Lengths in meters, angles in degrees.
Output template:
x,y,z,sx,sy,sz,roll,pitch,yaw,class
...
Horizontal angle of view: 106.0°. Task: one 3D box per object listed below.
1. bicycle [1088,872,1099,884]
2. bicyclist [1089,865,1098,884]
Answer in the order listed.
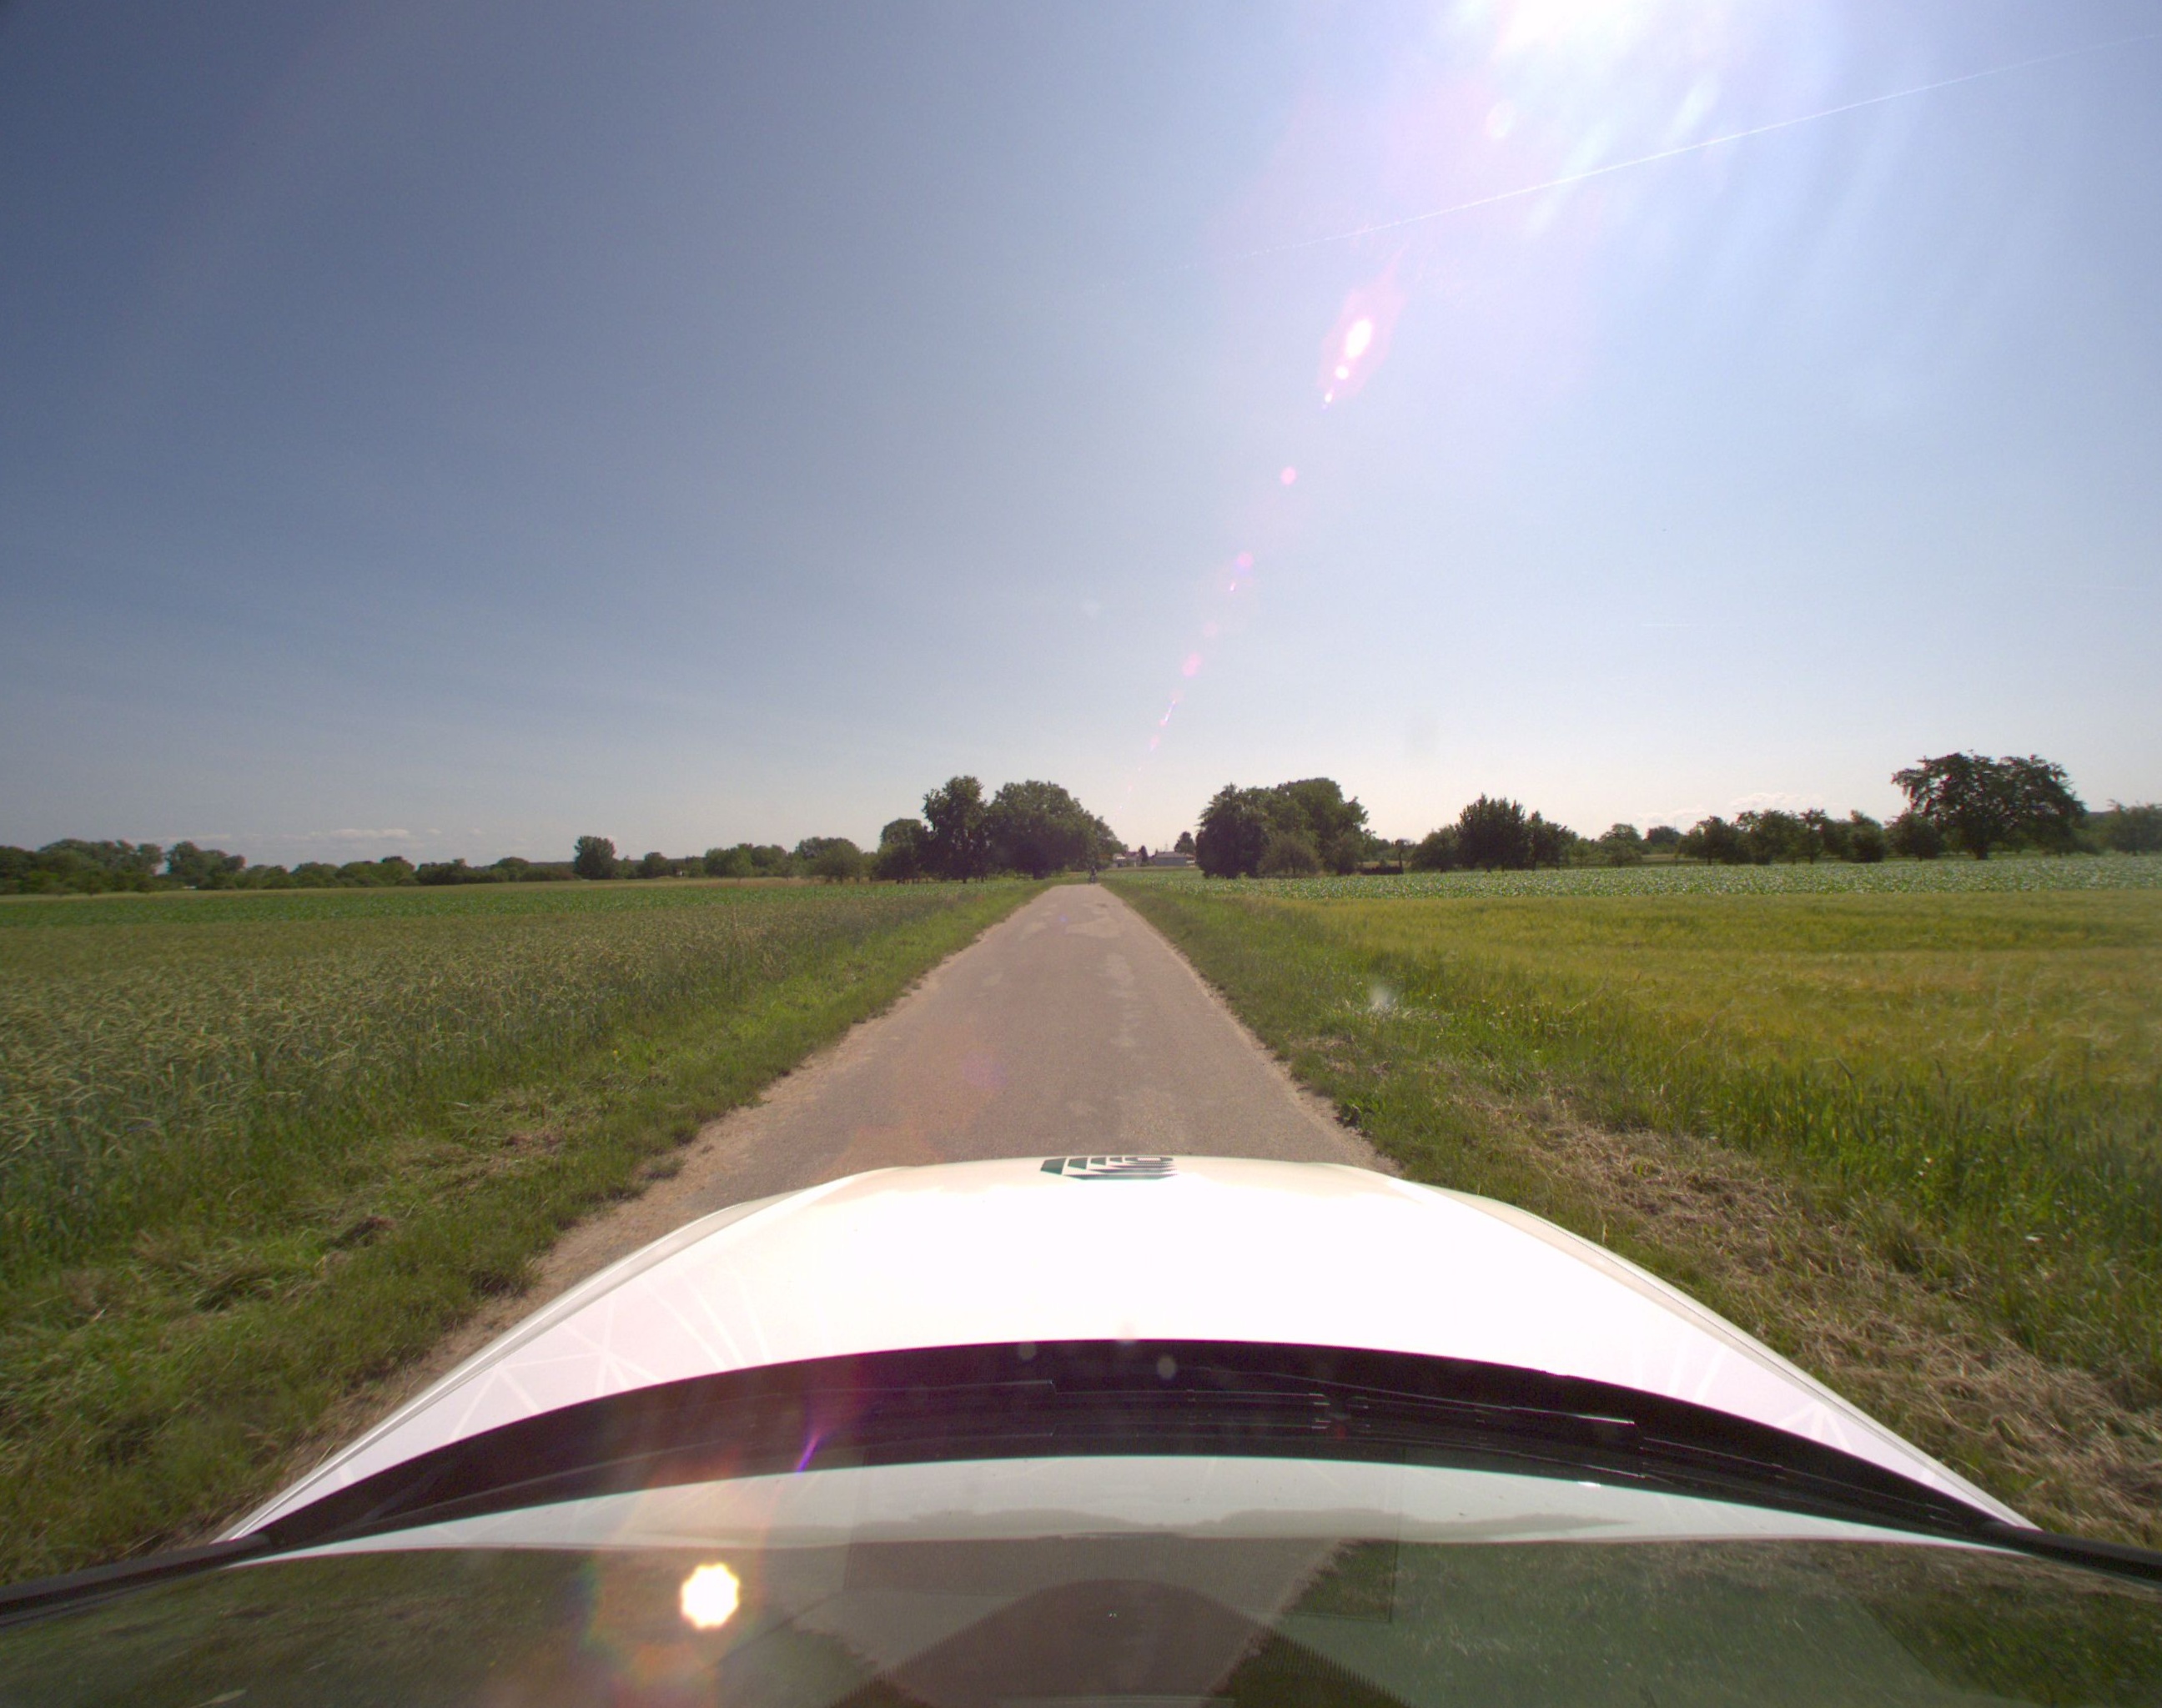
x,y,z,sx,sy,sz,roll,pitch,yaw,class
1.257,2.350,80.417,0.746,1.127,1.913,-4,-1,10,bicycle
1.243,2.029,80.429,0.746,1.791,0.719,-4,-1,10,bicyclist
